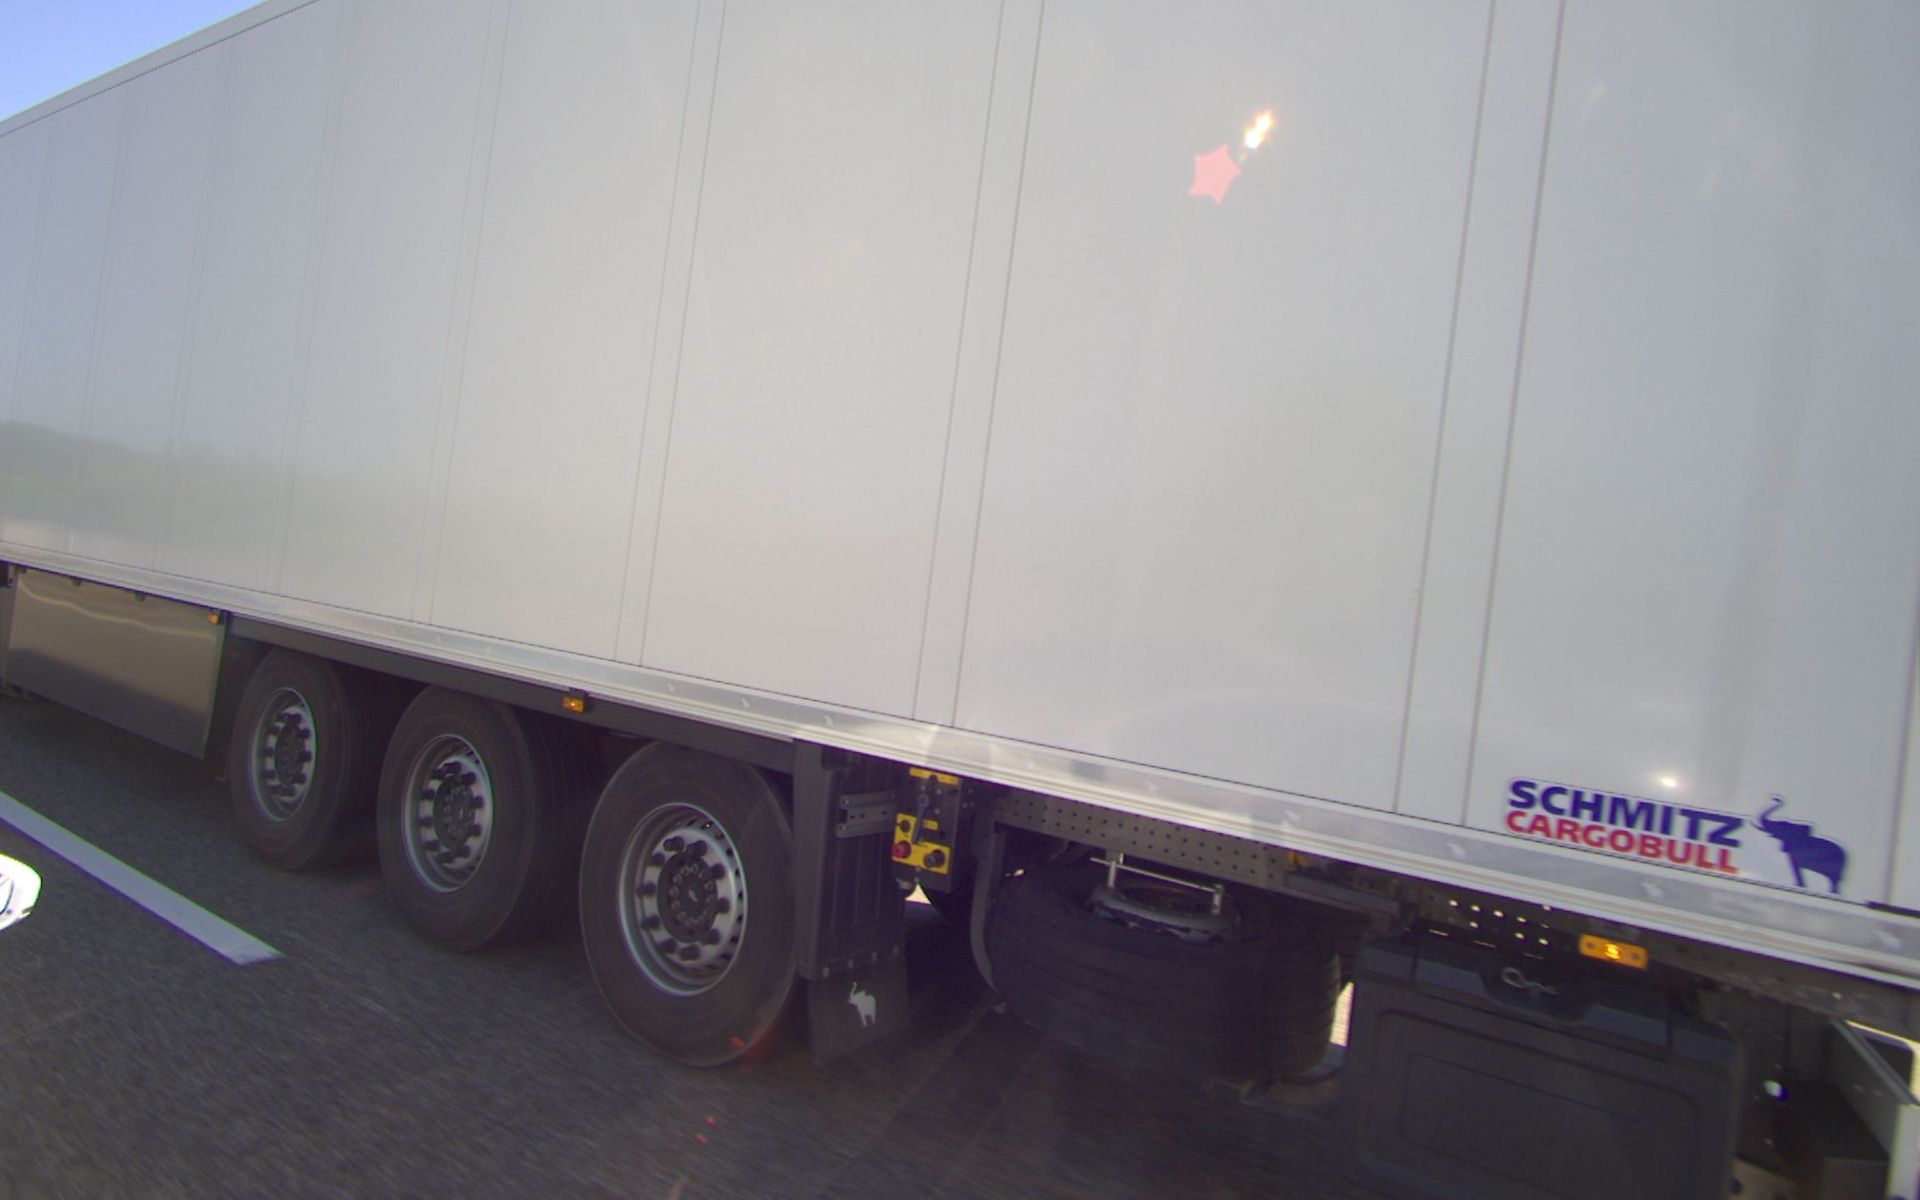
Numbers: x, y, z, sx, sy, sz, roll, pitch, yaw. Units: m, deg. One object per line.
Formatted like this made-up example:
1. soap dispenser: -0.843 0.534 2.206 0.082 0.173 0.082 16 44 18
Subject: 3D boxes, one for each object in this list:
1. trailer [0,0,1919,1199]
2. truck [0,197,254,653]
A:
1. trailer: -4.499 -1.137 7.016 15.931 4.065 2.943 6 -1 32
2. truck: -11.127 -1.849 11.123 6.000 4.032 2.946 6 -1 31
